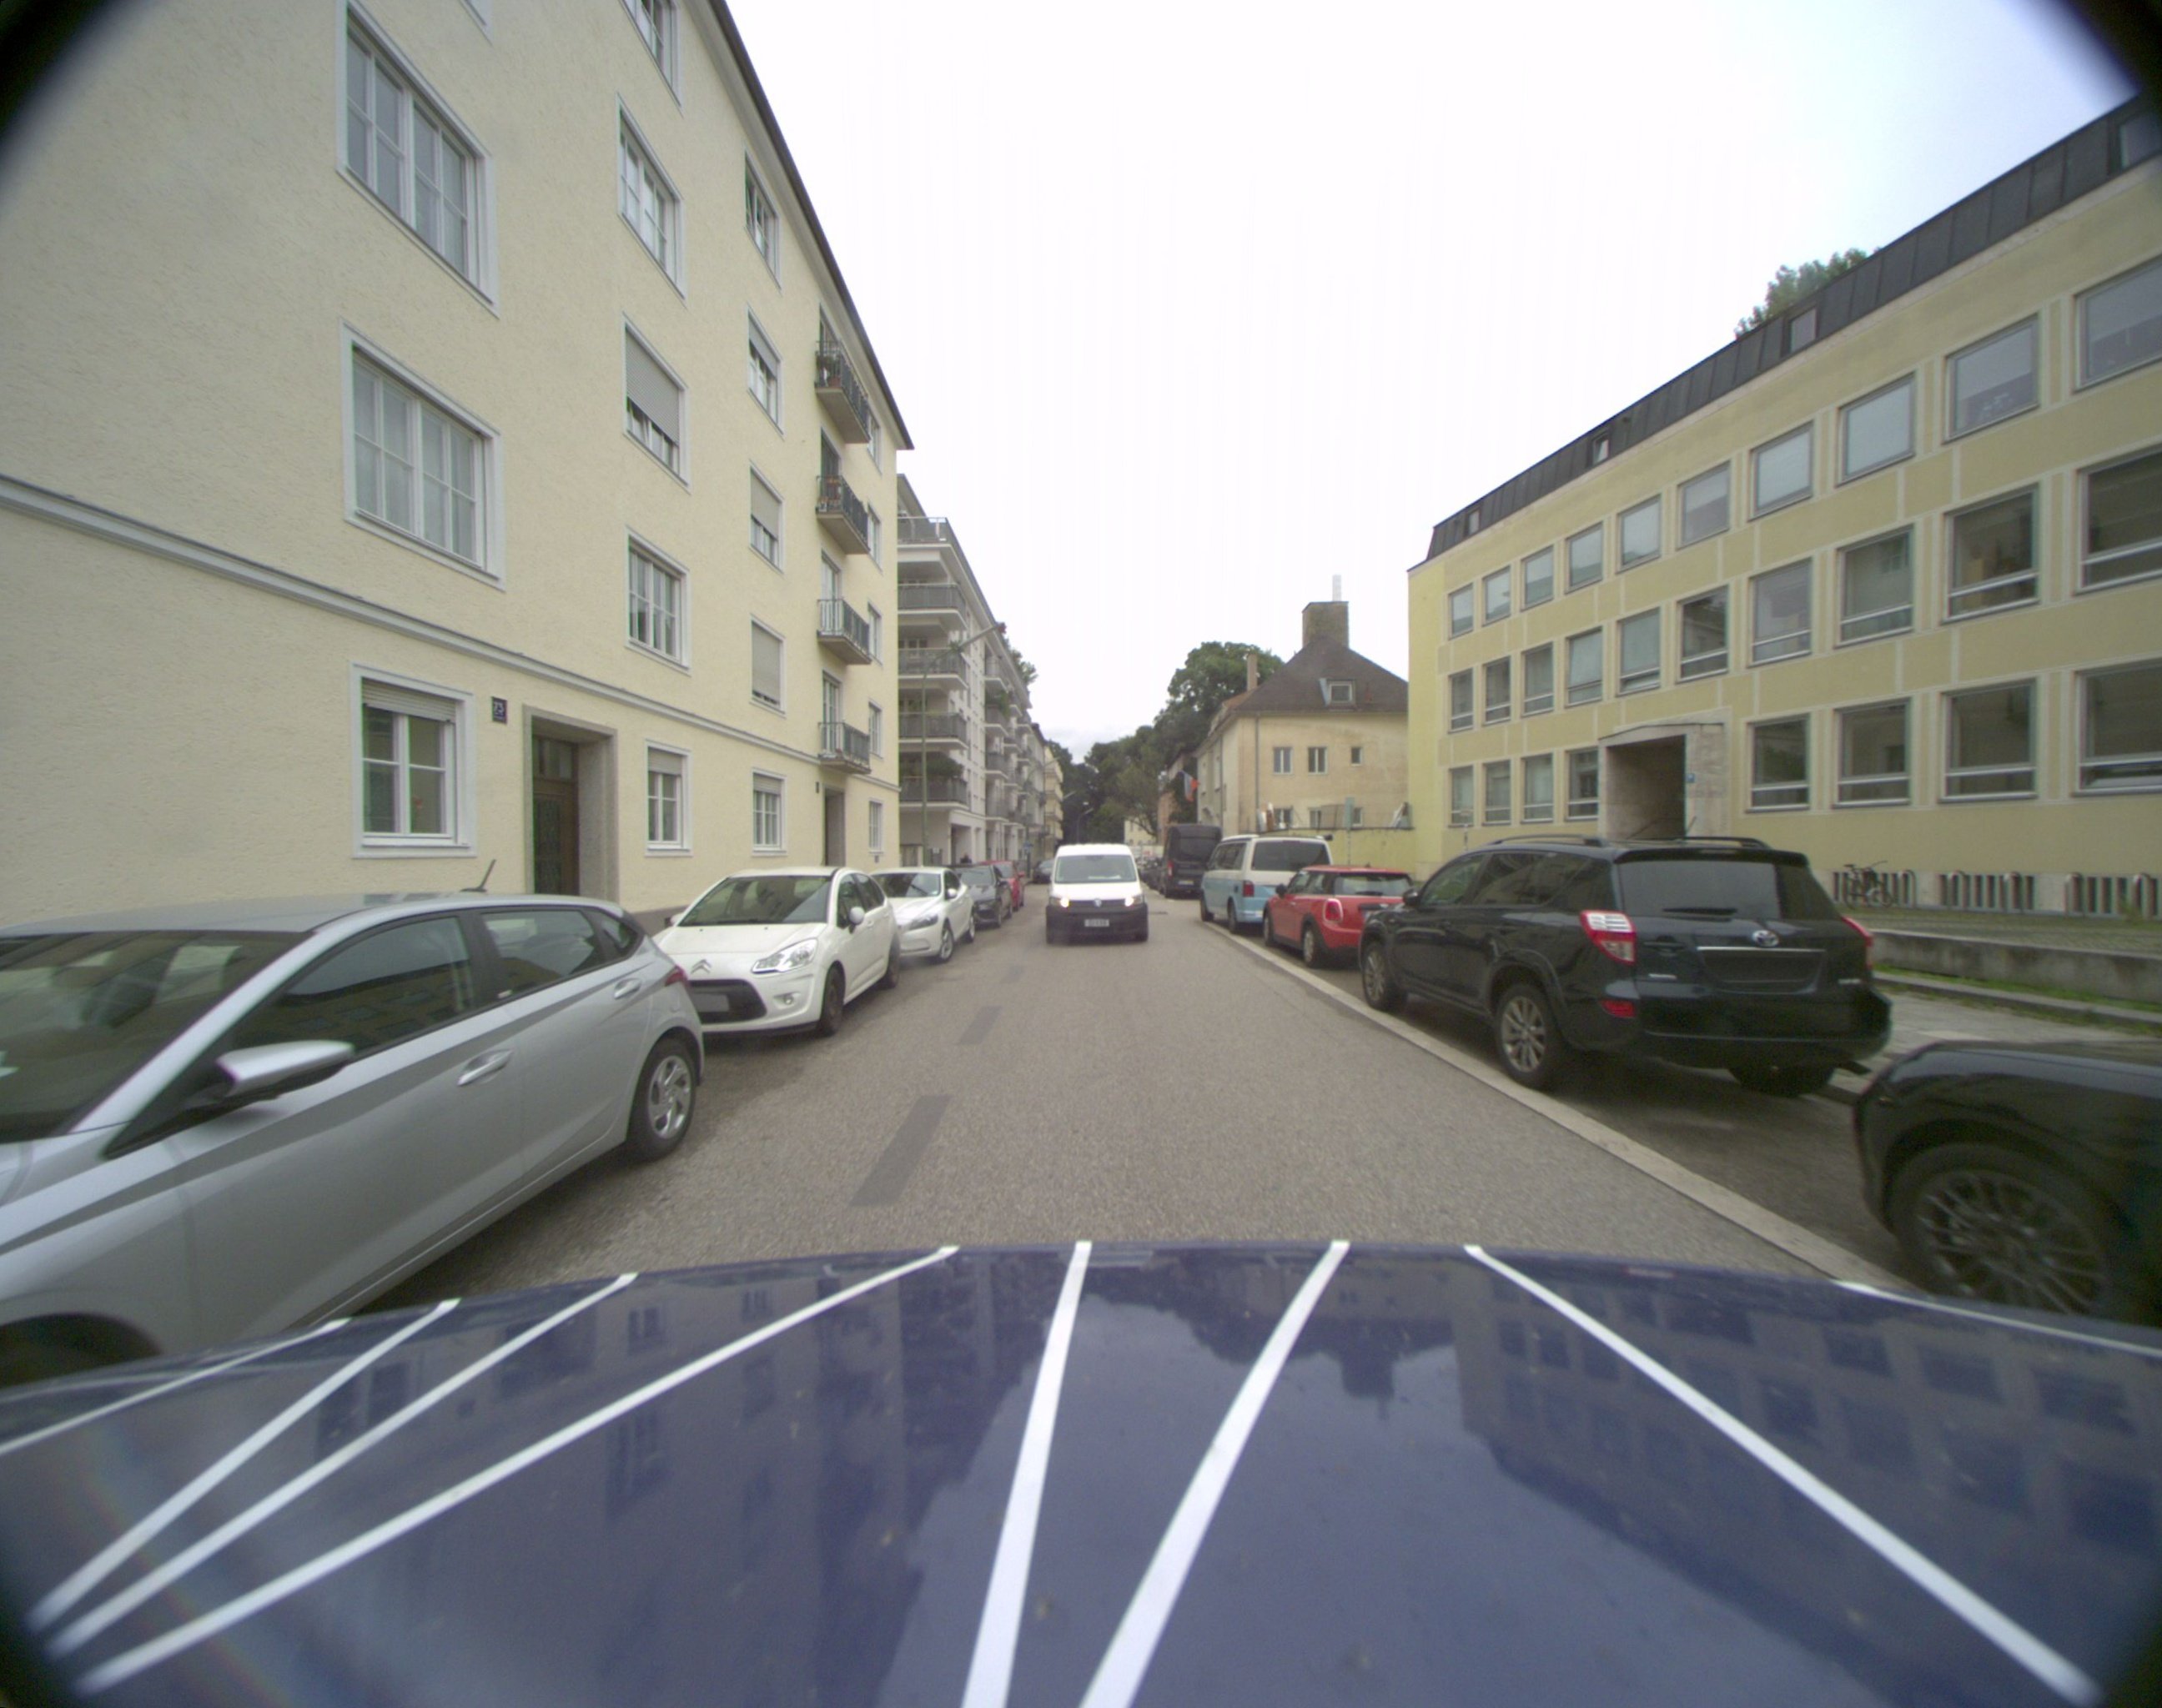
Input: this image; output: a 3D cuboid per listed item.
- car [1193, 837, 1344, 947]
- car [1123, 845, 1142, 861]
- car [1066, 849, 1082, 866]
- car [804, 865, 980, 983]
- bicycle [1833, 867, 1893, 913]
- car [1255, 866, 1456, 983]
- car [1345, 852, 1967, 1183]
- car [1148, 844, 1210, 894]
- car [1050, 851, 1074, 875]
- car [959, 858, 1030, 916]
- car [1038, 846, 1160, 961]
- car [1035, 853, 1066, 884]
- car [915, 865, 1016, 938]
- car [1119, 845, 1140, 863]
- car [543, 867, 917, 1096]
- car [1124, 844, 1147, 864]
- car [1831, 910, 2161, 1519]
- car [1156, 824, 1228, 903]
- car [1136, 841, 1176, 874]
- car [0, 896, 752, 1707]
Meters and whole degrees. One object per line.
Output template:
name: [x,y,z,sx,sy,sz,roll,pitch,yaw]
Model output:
car: [3.729,0.669,15.999,1.949,1.965,4.354,1,1,-2]
car: [6.802,-0.141,100.787,2.215,2.070,4.959,-2,1,1]
car: [-0.724,0.356,84.388,1.639,1.726,3.880,-2,1,1]
car: [-2.869,0.999,12.472,1.841,1.450,4.021,-2,1,0]
bicycle: [16.498,0.750,16.033,1.244,0.897,0.288,-2,1,-14]
car: [3.935,0.943,11.532,1.745,1.396,3.455,1,1,-1]
car: [3.723,0.859,6.037,1.745,1.679,4.122,1,1,-1]
car: [4.448,0.610,35.296,2.215,2.070,4.959,-2,1,1]
car: [-1.463,0.674,58.795,1.639,1.726,3.880,-2,1,1]
car: [-2.588,0.952,23.598,1.742,1.507,4.021,-2,1,0]
car: [0.297,0.748,14.314,1.884,1.761,4.924,0,1,0]
car: [-1.834,0.827,46.501,1.639,1.726,3.880,-2,1,1]
car: [-2.589,1.029,17.894,1.742,1.367,4.021,-2,1,0]
car: [5.821,-0.057,92.303,2.215,2.070,4.959,-2,1,1]
car: [-3.094,0.995,7.851,1.841,1.538,4.267,-2,1,0]
car: [6.013,-0.074,84.212,2.215,2.070,4.959,-2,1,1]
car: [3.648,0.968,0.950,1.745,1.459,3.685,-2,1,-1]
car: [4.153,0.304,29.199,1.998,2.701,4.959,-2,1,1]
car: [5.093,0.174,52.062,2.215,2.070,4.959,-2,1,1]
car: [-3.071,1.045,2.591,1.841,1.426,4.653,-2,1,0]
